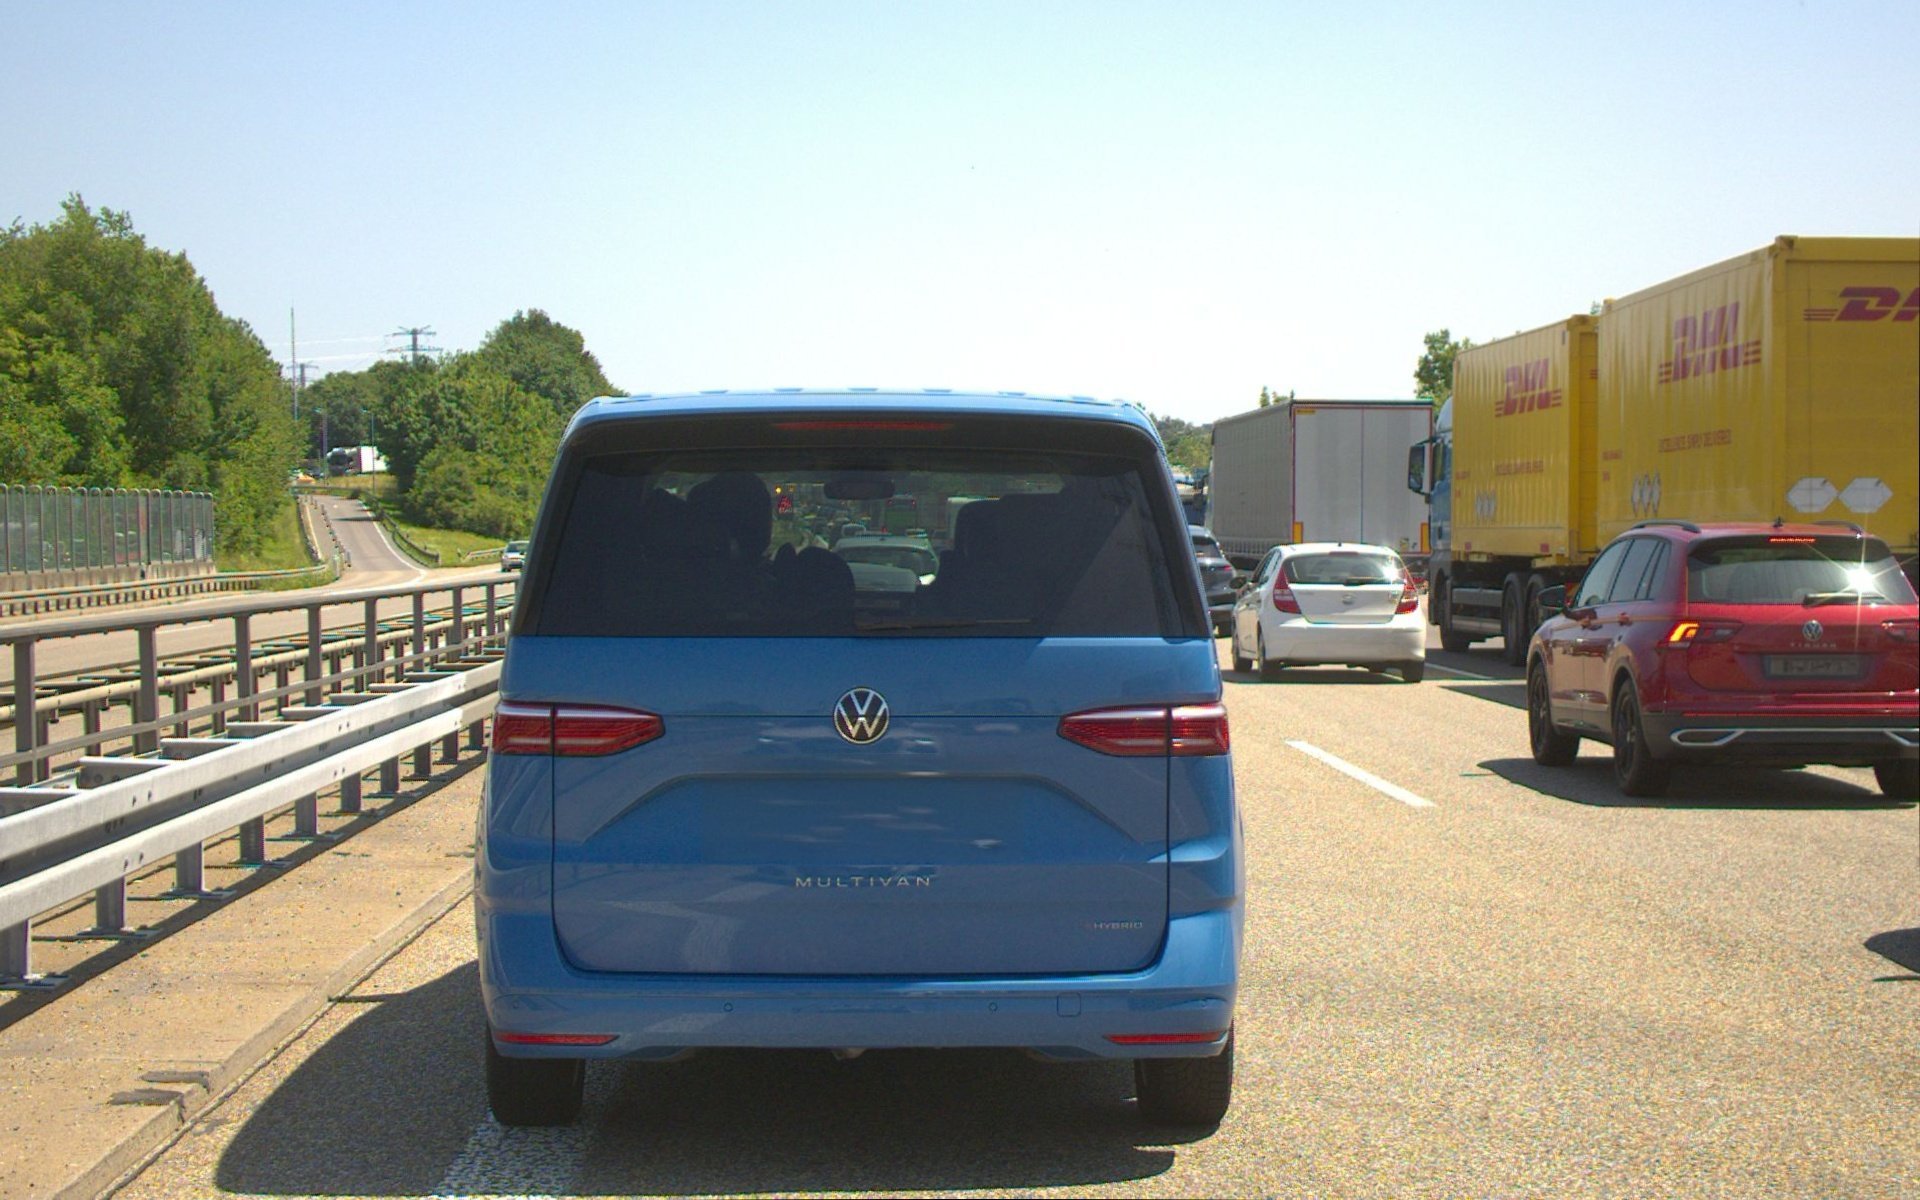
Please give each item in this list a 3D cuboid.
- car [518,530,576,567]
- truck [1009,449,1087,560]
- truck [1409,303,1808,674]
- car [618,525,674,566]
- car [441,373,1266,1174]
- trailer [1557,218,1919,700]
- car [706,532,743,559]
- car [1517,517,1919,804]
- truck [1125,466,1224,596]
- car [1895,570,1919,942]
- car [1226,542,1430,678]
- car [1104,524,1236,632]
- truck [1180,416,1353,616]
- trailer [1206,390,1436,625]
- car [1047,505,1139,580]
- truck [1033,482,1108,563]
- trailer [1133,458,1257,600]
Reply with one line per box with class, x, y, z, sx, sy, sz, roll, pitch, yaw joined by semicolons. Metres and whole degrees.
car;-15.889;-1.986;132.384;1.800;1.381;4.263;1;1;-1
truck;4.132;-4.435;163.431;2.833;5.023;11.147;1;0;-3
truck;7.801;-1.273;42.930;2.722;4.040;10.337;1;0;-1
car;-12.082;-2.099;132.475;1.840;1.524;3.558;-2;1;-1
car;-0.278;0.363;9.864;1.882;1.831;4.000;0;1;-1
trailer;8.031;-1.212;33.282;2.701;4.010;8.931;1;0;-1
car;-13.120;-3.051;191.875;1.842;1.441;4.419;1;1;-1
car;4.745;0.301;21.316;1.851;1.603;4.000;0;1;-1
truck;6.365;-2.024;102.619;2.367;3.709;6.034;1;0;-2
car;4.521;0.618;11.006;1.781;1.382;4.188;0;1;-2
car;3.987;0.074;37.841;1.838;1.409;4.000;0;1;0
car;3.178;-0.319;52.650;1.715;1.581;3.821;0;0;-1
truck;6.538;-1.774;74.317;2.768;4.081;6.985;1;1;-2
trailer;6.841;-1.703;66.953;2.754;4.132;11.313;1;1;-2
car;2.822;-1.233;73.471;1.715;1.535;3.821;-1;1;-1
truck;4.583;-3.194;143.868;2.355;3.207;9.742;1;1;-3
trailer;6.530;-1.945;97.090;2.379;3.731;11.189;1;1;-2
